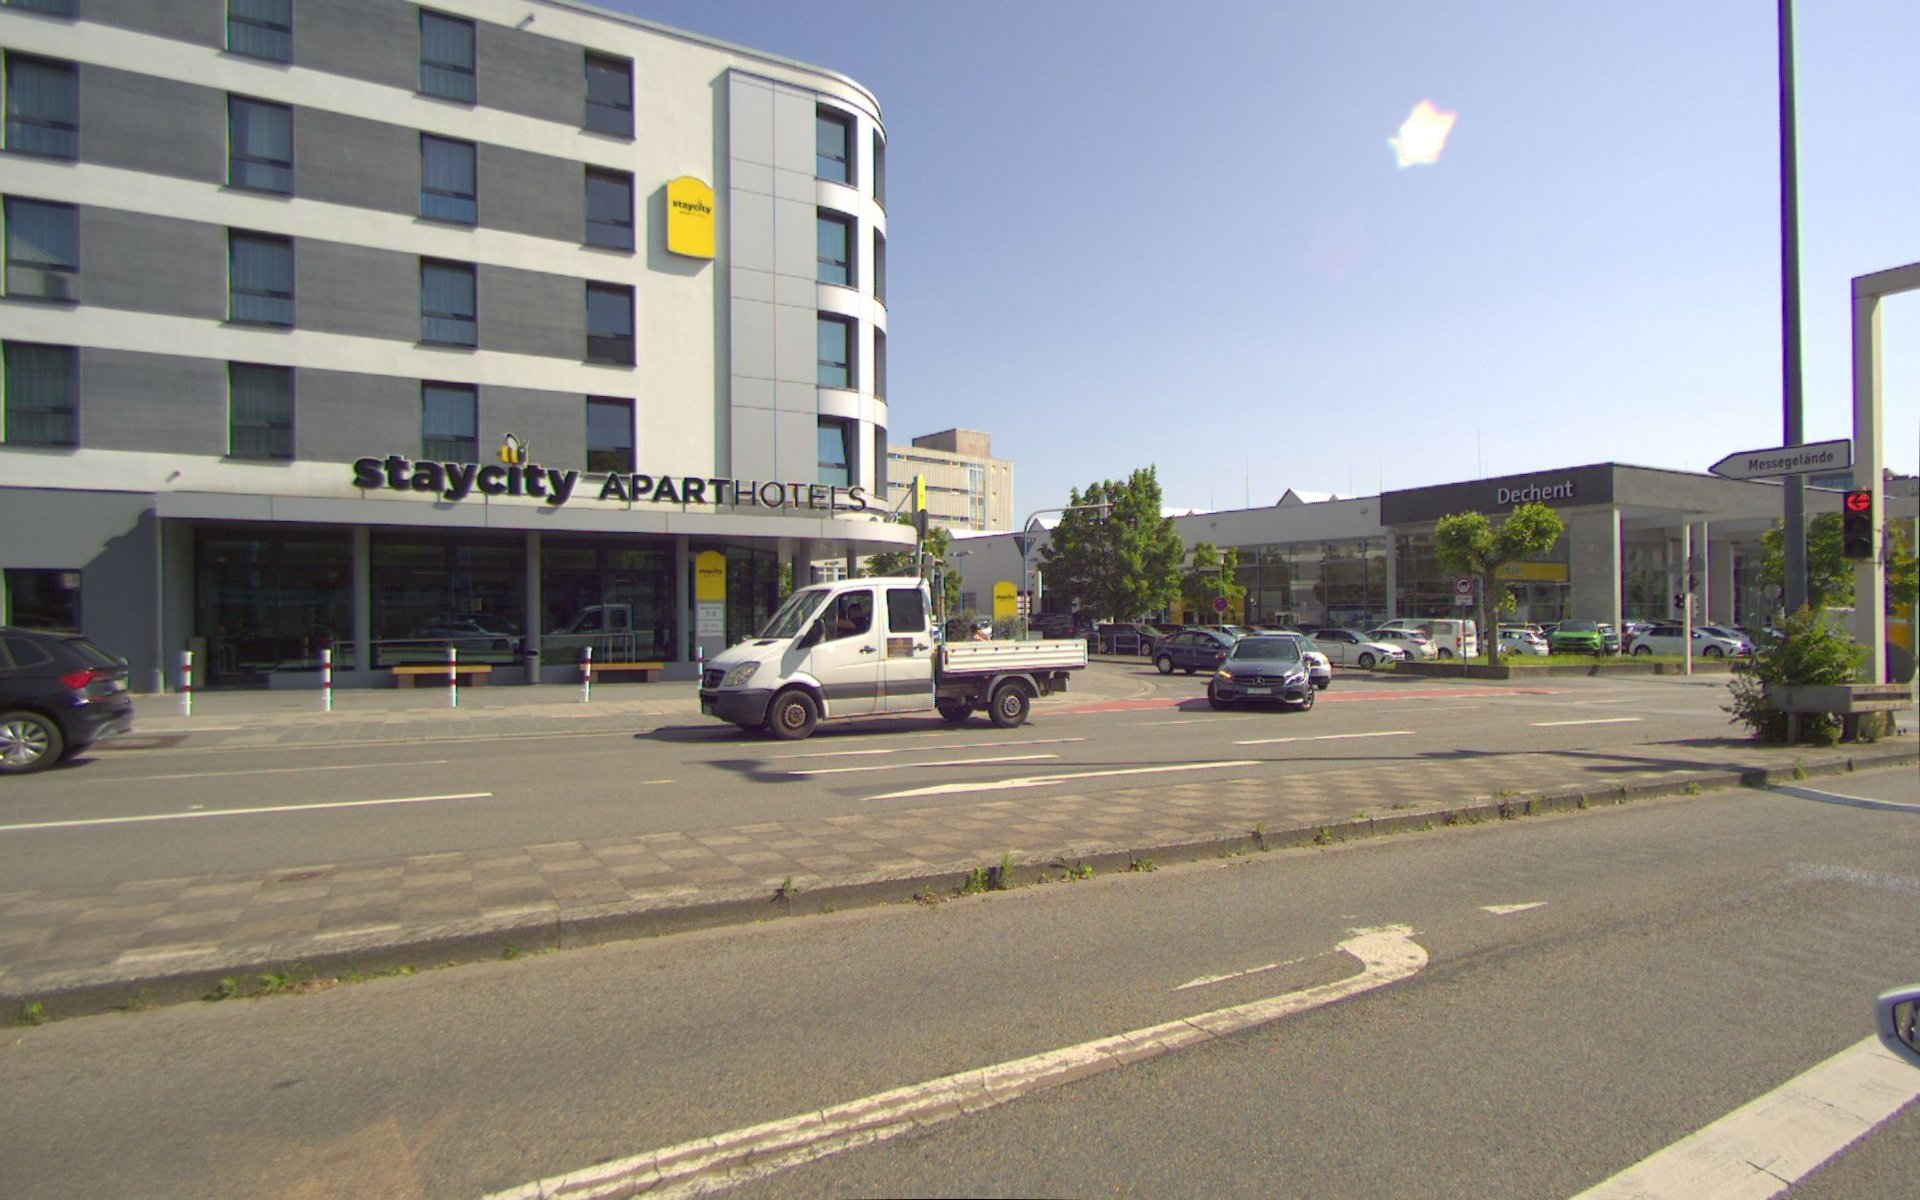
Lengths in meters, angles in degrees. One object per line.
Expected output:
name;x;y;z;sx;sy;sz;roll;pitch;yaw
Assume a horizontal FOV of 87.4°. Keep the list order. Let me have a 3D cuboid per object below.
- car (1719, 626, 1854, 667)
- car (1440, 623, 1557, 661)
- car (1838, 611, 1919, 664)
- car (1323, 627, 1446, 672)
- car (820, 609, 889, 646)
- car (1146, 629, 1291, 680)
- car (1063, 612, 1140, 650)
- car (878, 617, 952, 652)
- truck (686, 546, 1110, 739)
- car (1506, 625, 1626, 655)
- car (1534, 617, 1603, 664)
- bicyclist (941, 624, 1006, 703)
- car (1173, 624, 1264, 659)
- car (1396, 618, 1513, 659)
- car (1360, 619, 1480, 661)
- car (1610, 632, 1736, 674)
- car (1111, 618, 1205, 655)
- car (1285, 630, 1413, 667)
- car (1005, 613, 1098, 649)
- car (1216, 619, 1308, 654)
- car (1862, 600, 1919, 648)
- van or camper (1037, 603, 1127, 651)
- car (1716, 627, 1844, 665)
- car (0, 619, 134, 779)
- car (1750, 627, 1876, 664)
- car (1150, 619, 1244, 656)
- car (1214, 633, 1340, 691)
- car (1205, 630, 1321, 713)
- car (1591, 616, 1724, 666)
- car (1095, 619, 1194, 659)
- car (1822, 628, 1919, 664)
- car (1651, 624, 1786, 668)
car;37.425;2.080;45.585;1.978;1.719;4.333;2;-1;-32
car;24.539;1.872;45.871;1.982;1.612;4.325;1;-2;-37
car;49.074;1.938;52.383;2.096;2.720;4.490;1;-1;-21
car;17.406;1.988;41.389;1.980;1.719;4.328;1;-2;-35
car;-6.710;1.704;63.531;1.985;2.158;4.565;2;0;-42
car;8.569;1.767;33.515;1.987;1.466;4.314;2;-1;-44
car;7.743;1.695;55.295;1.983;2.040;3.956;1;-2;-38
car;-2.691;2.025;59.295;1.971;1.815;4.376;2;0;-42
truck;-0.894;0.690;15.999;6.355;2.578;2.349;1;-3;-28
car;27.853;1.837;46.257;1.982;1.284;4.325;4;-4;-37
car;23.980;1.610;39.709;1.870;1.756;3.293;0;-3;23
bicyclist;0.256;1.217;19.540;1.016;1.479;0.763;1;-1;-33
car;13.344;2.133;52.065;1.980;1.719;4.328;1;-2;-35
car;22.080;1.698;44.985;1.982;1.719;4.323;1;-2;-38
car;19.806;1.704;43.351;1.982;1.719;4.323;1;-2;-38
car;30.190;2.213;42.602;1.981;1.620;3.959;1;-2;-36
car;9.555;1.742;48.764;1.980;1.719;4.328;1;-2;-35
car;15.064;1.862;39.113;1.980;1.317;4.328;1;-2;-35
car;4.552;1.516;50.239;4.304;1.719;1.991;-1;-2;39
car;15.799;1.882;52.685;1.982;1.719;4.324;1;-2;-37
car;53.224;1.355;55.745;1.973;2.635;4.345;1;-1;-24
van or camper;6.391;1.418;52.991;1.983;2.432;4.678;1;-2;-38
car;38.802;2.134;47.642;1.978;1.719;4.333;1;-2;-32
car;-11.427;0.985;10.212;4.360;1.598;1.984;1;-1;-30
car;41.607;2.185;49.101;1.978;1.719;4.333;1;-2;-32
car;11.646;1.814;49.671;1.980;1.719;4.328;1;-2;-35
car;8.727;1.678;27.987;1.746;1.457;3.909;1;-1;-10
car;6.413;1.389;20.908;1.924;1.446;4.584;-1;-1;22
car;27.338;1.576;39.485;1.978;1.862;3.849;1;-2;-32
car;8.376;1.751;45.947;1.980;1.719;4.328;1;-2;-35
car;47.004;2.294;51.117;1.973;1.719;4.345;1;-1;-24
car;32.779;1.957;43.548;1.978;1.789;4.274;1;-2;-32
